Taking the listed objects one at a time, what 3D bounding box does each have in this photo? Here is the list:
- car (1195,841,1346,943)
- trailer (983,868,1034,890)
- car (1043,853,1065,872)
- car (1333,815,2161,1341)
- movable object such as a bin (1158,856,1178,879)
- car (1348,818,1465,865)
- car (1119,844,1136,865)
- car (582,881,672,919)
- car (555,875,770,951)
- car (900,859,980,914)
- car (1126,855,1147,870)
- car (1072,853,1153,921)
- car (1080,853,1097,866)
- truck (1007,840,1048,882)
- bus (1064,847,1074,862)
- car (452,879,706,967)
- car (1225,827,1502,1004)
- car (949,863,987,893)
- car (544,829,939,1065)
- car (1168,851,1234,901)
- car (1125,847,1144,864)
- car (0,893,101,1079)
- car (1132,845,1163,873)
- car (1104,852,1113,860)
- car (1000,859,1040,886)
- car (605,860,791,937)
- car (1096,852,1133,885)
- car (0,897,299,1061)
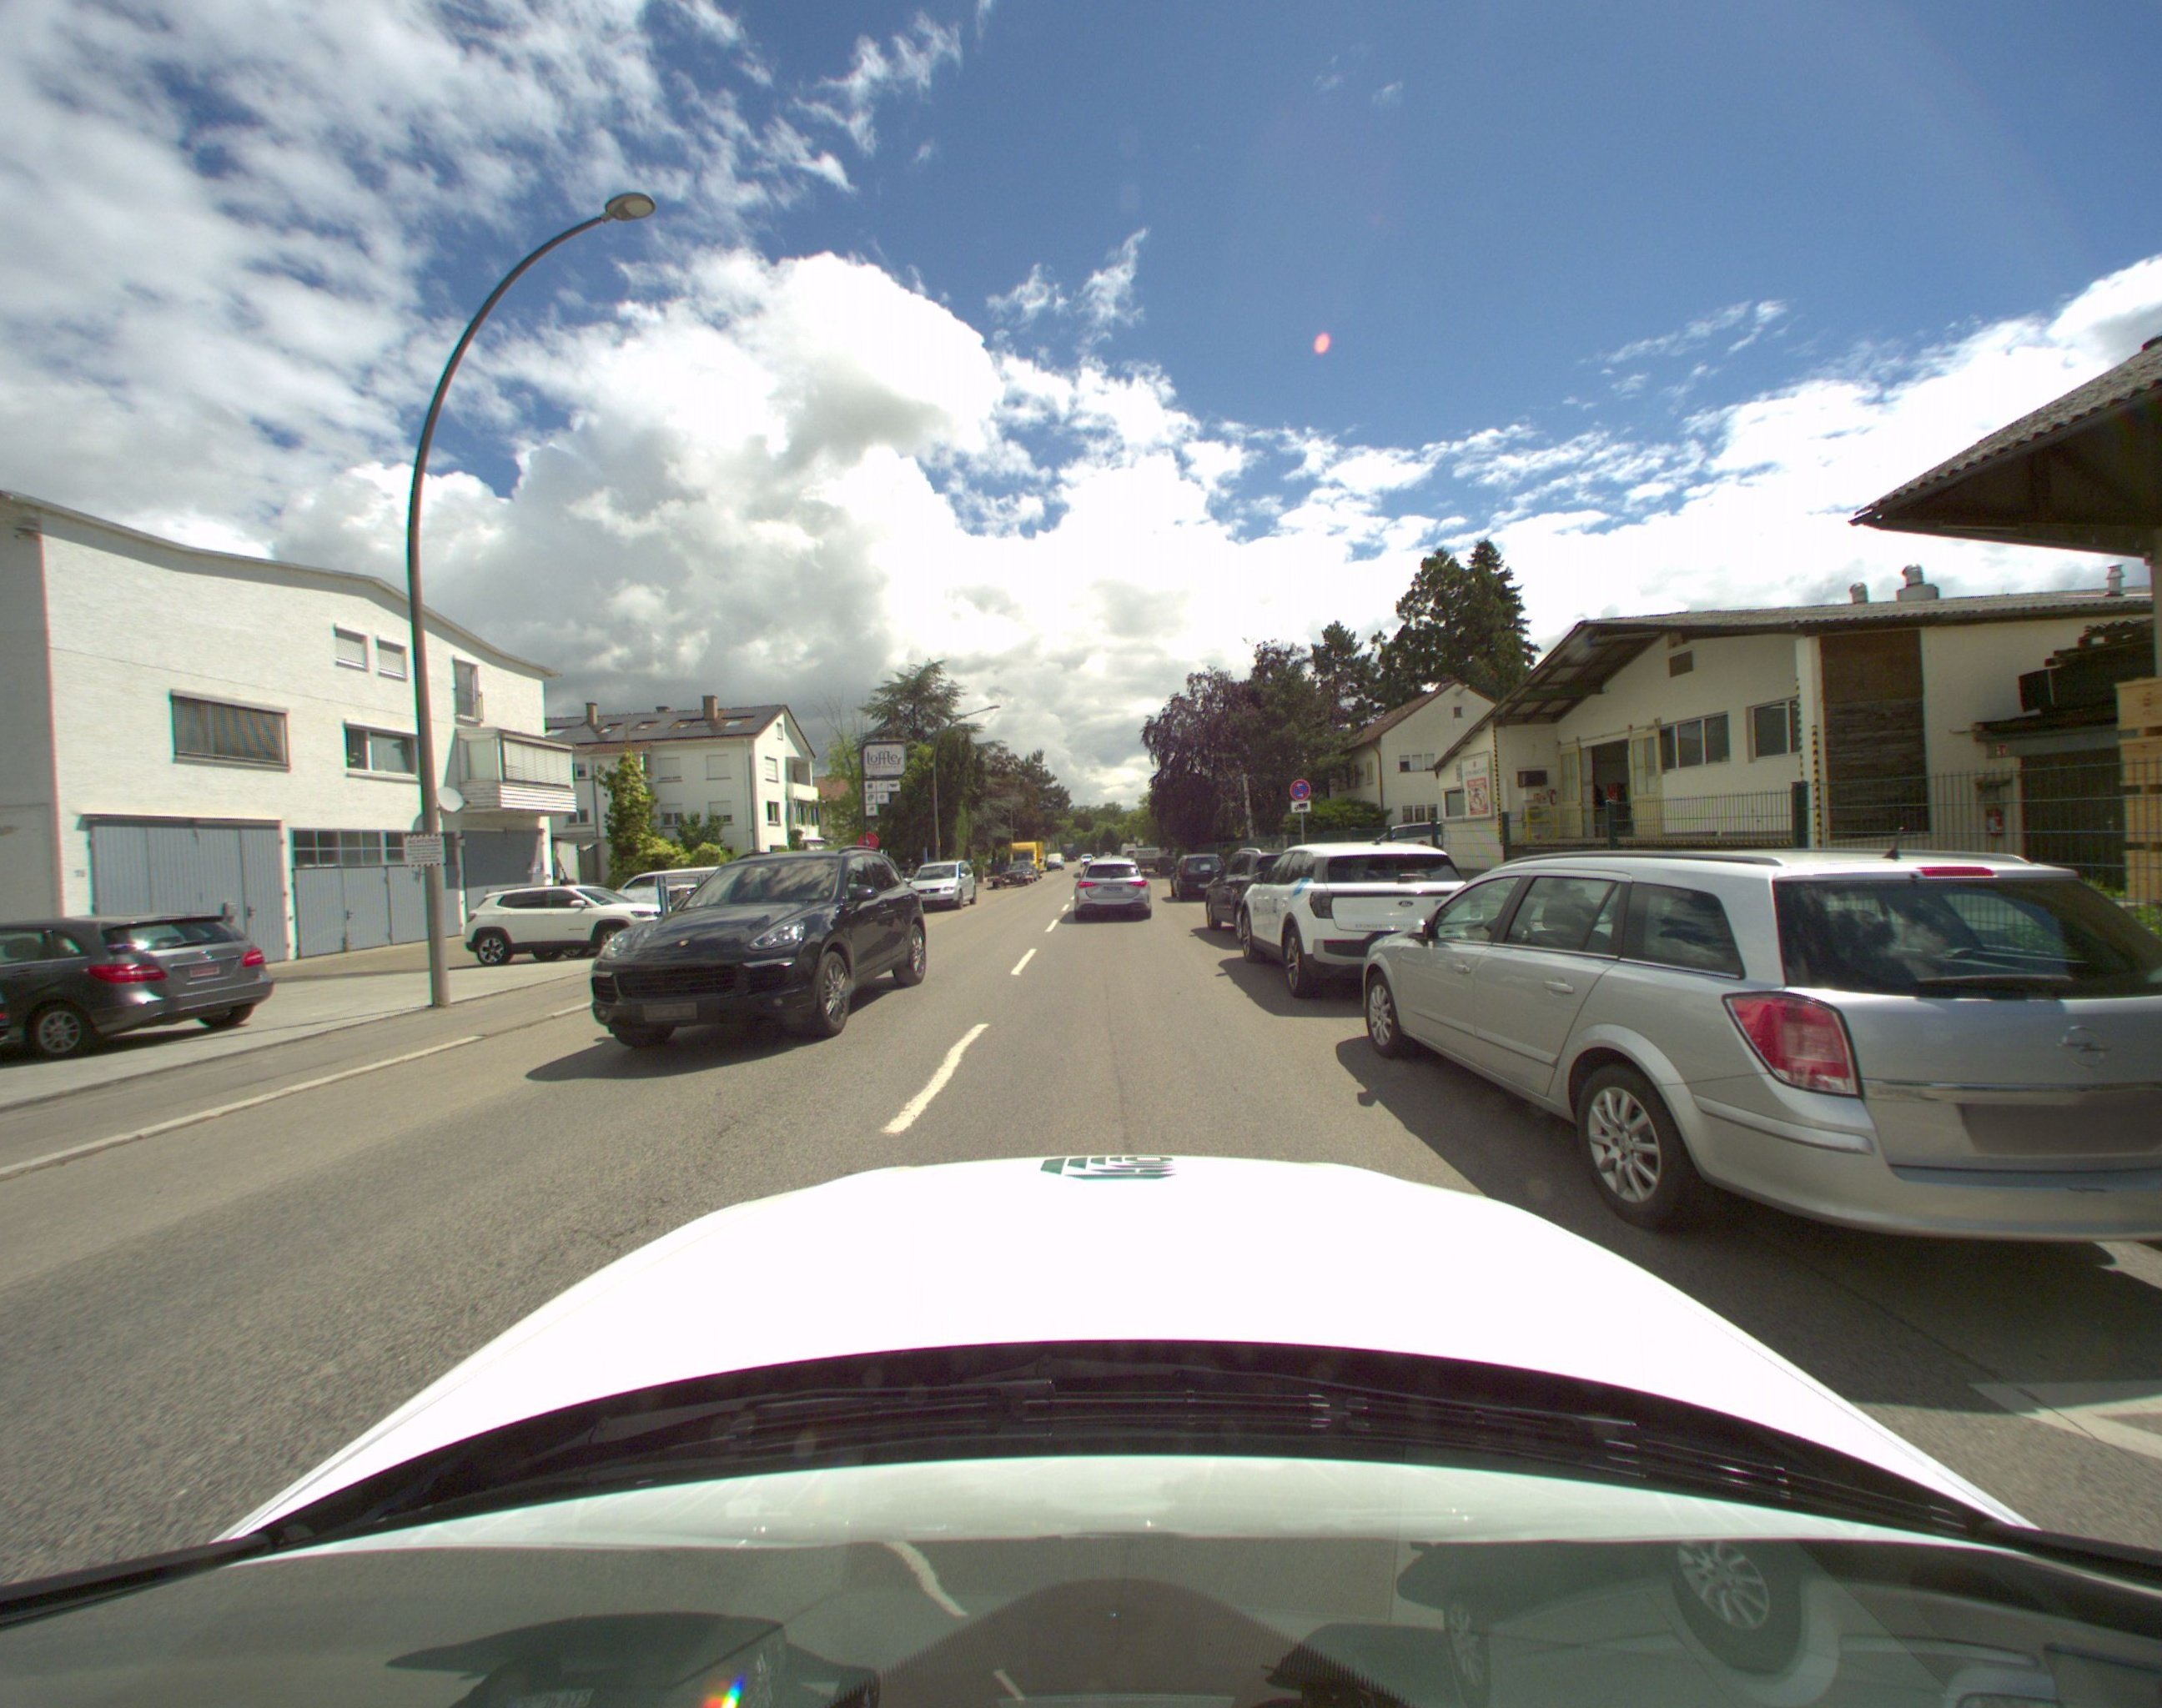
[{"bbox_3d":[3.346,0.619,15.169,1.685,1.552,4.083,-3,0,-2],"label":"car"},{"bbox_3d":[-4.011,1.364,45.900,2.221,0.925,5.948,-2,0,0],"label":"trailer"},{"bbox_3d":[-2.951,0.935,89.884,1.927,1.918,4.365,-4,0,2],"label":"car"},{"bbox_3d":[2.988,0.646,4.579,1.785,1.450,4.364,-4,0,1],"label":"car"},{"bbox_3d":[5.103,0.774,47.720,1.080,1.271,1.380,-1,0,2],"label":"movable object such as a bin"},{"bbox_3d":[16.373,-0.621,41.164,4.994,1.929,2.003,-5,0,4],"label":"car"},{"bbox_3d":[5.694,0.077,100.714,1.779,2.518,4.315,-2,-1,0],"label":"car"},{"bbox_3d":[-22.869,2.280,41.224,1.987,1.544,4.376,-4,0,0],"label":"car"},{"bbox_3d":[-10.271,1.450,20.227,4.265,1.567,1.991,-3,-3,0],"label":"car"},{"bbox_3d":[-4.780,1.050,28.226,1.785,1.603,4.365,-4,0,2],"label":"car"},{"bbox_3d":[5.659,0.904,83.380,1.779,1.484,4.315,-2,-1,0],"label":"car"},{"bbox_3d":[0.711,0.764,20.459,1.779,1.484,4.315,-2,-1,0],"label":"car"},{"bbox_3d":[0.955,0.652,100.917,1.927,1.492,4.365,-4,0,2],"label":"car"},{"bbox_3d":[-3.908,0.484,60.634,2.066,2.814,7.083,-4,0,3],"label":"truck"},{"bbox_3d":[-2.857,0.073,187.893,1.989,3.364,6.973,-1,0,-3],"label":"bus"},{"bbox_3d":[-10.799,1.469,17.736,4.263,1.567,1.992,-3,-3,1],"label":"car"},{"bbox_3d":[3.066,0.575,9.957,1.785,1.552,4.574,-4,0,1],"label":"car"},{"bbox_3d":[-7.971,1.677,57.901,1.986,2.013,4.001,-1,0,1],"label":"car"},{"bbox_3d":[-3.074,0.729,8.679,1.985,1.733,4.552,-4,0,3],"label":"car"},{"bbox_3d":[3.863,0.670,26.776,1.683,1.450,3.850,-3,0,2],"label":"car"},{"bbox_3d":[5.789,0.219,88.543,1.779,1.715,4.315,-2,-1,0],"label":"car"},{"bbox_3d":[-12.042,1.444,6.856,4.615,1.632,2.196,-6,0,-2],"label":"car"},{"bbox_3d":[5.109,0.376,63.135,2.136,1.984,5.264,-3,0,2],"label":"car"},{"bbox_3d":[5.888,0.417,175.443,1.751,1.558,3.997,-3,0,-2],"label":"car"},{"bbox_3d":[-3.883,1.148,52.660,2.068,1.478,4.457,-4,0,1],"label":"car"},{"bbox_3d":[-10.724,1.253,23.030,4.265,1.836,1.991,-3,-4,0],"label":"car"},{"bbox_3d":[1.702,0.719,42.750,1.750,1.558,4.000,-3,0,0],"label":"car"},{"bbox_3d":[-12.427,1.541,9.571,4.450,1.505,1.824,-6,0,-2],"label":"car"}]
